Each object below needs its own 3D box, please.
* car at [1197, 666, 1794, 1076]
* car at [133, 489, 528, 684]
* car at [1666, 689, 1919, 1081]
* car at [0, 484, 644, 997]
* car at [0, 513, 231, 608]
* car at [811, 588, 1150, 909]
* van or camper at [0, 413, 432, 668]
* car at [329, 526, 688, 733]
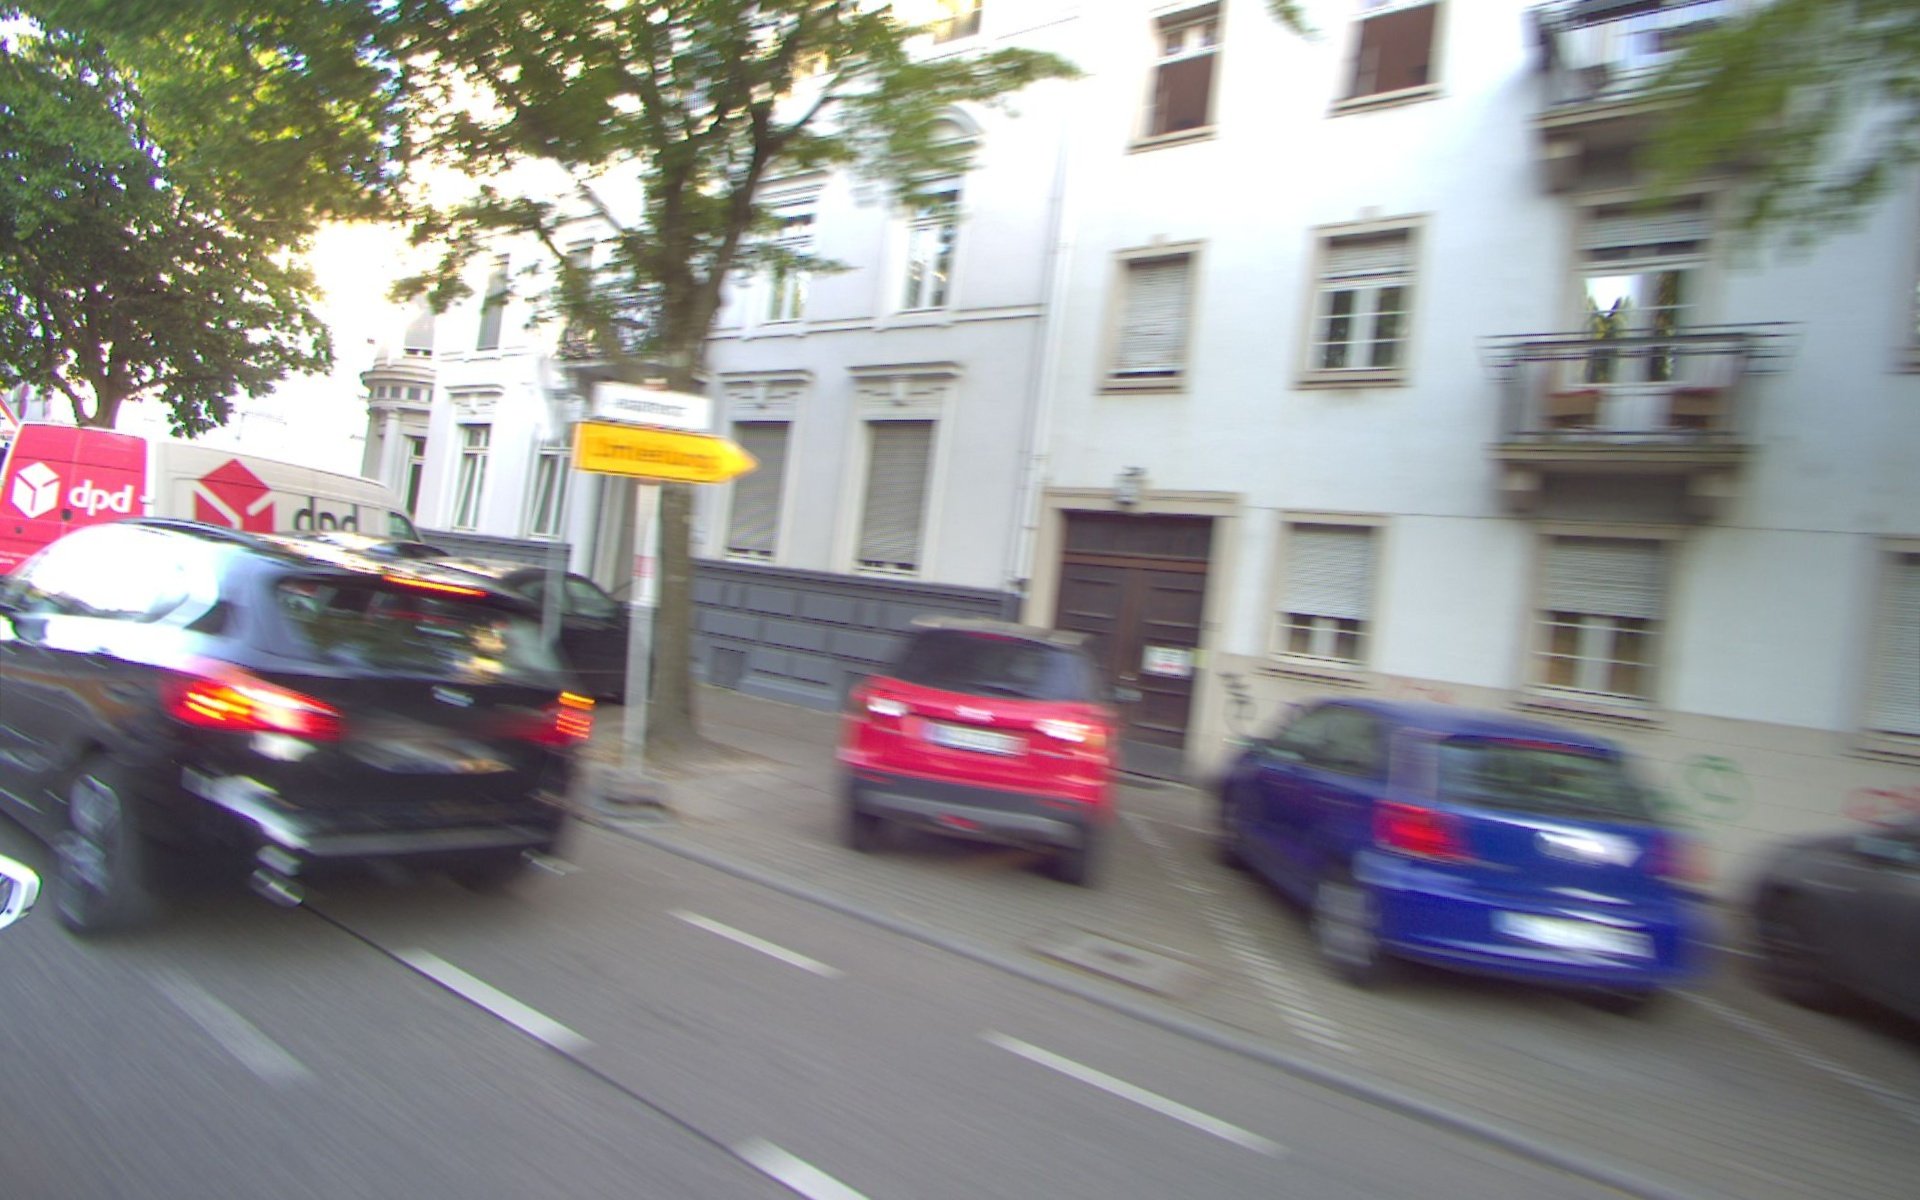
[{"bbox_3d":[2.800,1.322,6.277,1.629,1.462,3.651,6,-1,0],"label":"car"},{"bbox_3d":[-7.242,-0.139,12.135,1.805,1.788,3.954,6,1,8],"label":"car"},{"bbox_3d":[5.317,1.483,4.280,1.806,1.624,3.954,7,1,3],"label":"car"},{"bbox_3d":[-3.800,0.443,5.228,3.936,1.637,1.887,7,-4,34],"label":"car"},{"bbox_3d":[-14.696,-0.660,17.331,1.625,1.326,3.776,6,1,-4],"label":"car"},{"bbox_3d":[0.364,0.936,7.766,1.805,1.622,3.959,6,-2,8],"label":"car"},{"bbox_3d":[-9.725,-0.683,13.602,2.048,2.563,5.546,6,1,0],"label":"van or camper"},{"bbox_3d":[-4.873,0.278,11.580,1.805,1.788,3.954,6,1,8],"label":"car"}]
